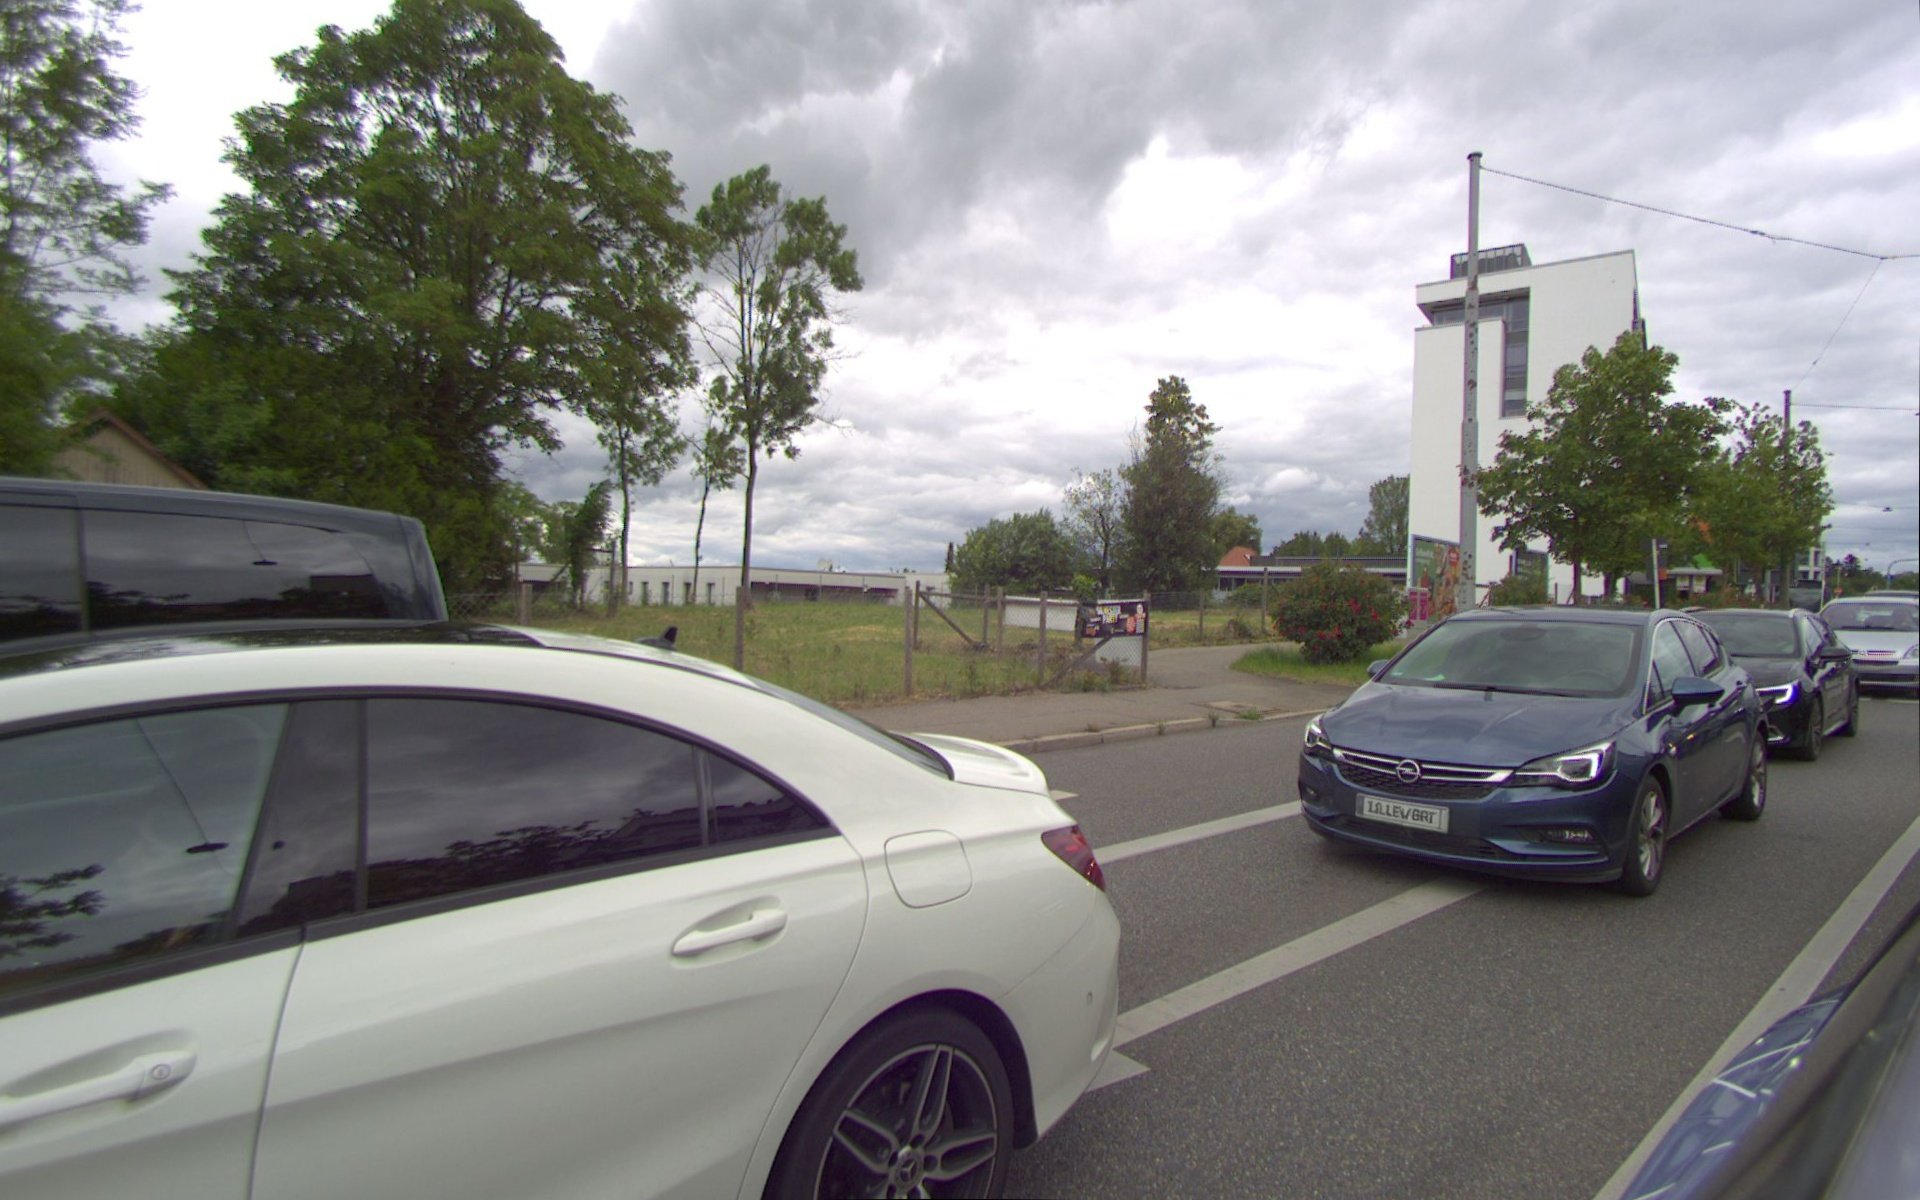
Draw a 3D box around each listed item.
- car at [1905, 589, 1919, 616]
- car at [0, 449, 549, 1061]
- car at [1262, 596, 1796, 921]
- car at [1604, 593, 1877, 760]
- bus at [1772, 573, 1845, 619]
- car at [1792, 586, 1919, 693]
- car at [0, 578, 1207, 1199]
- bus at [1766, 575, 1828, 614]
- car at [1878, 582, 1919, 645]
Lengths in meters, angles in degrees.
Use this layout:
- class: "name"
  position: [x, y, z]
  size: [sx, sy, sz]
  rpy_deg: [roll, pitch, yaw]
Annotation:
- class: "car"
  position: [62.910, 0.120, 65.779]
  size: [1.991, 1.705, 3.941]
  rpy_deg: [-2, -1, 41]
- class: "car"
  position: [-4.061, 0.477, 3.386]
  size: [4.627, 1.863, 1.952]
  rpy_deg: [0, -1, -41]
- class: "car"
  position: [3.810, 0.696, 6.483]
  size: [3.931, 1.428, 1.825]
  rpy_deg: [0, 0, -42]
- class: "car"
  position: [8.464, 0.668, 10.859]
  size: [3.854, 1.475, 1.663]
  rpy_deg: [0, 0, -42]
- class: "bus"
  position: [53.955, -0.295, 64.575]
  size: [2.952, 2.664, 11.986]
  rpy_deg: [0, 1, 37]
- class: "car"
  position: [15.672, 0.598, 17.140]
  size: [3.717, 1.637, 1.849]
  rpy_deg: [0, -1, -41]
- class: "car"
  position: [-1.537, 0.699, 1.816]
  size: [4.300, 1.451, 1.652]
  rpy_deg: [0, 1, -41]
- class: "bus"
  position: [61.422, -0.427, 74.475]
  size: [2.952, 2.664, 12.751]
  rpy_deg: [0, 1, 37]
- class: "car"
  position: [30.572, 0.399, 32.248]
  size: [1.846, 1.910, 4.071]
  rpy_deg: [-1, -1, 43]
